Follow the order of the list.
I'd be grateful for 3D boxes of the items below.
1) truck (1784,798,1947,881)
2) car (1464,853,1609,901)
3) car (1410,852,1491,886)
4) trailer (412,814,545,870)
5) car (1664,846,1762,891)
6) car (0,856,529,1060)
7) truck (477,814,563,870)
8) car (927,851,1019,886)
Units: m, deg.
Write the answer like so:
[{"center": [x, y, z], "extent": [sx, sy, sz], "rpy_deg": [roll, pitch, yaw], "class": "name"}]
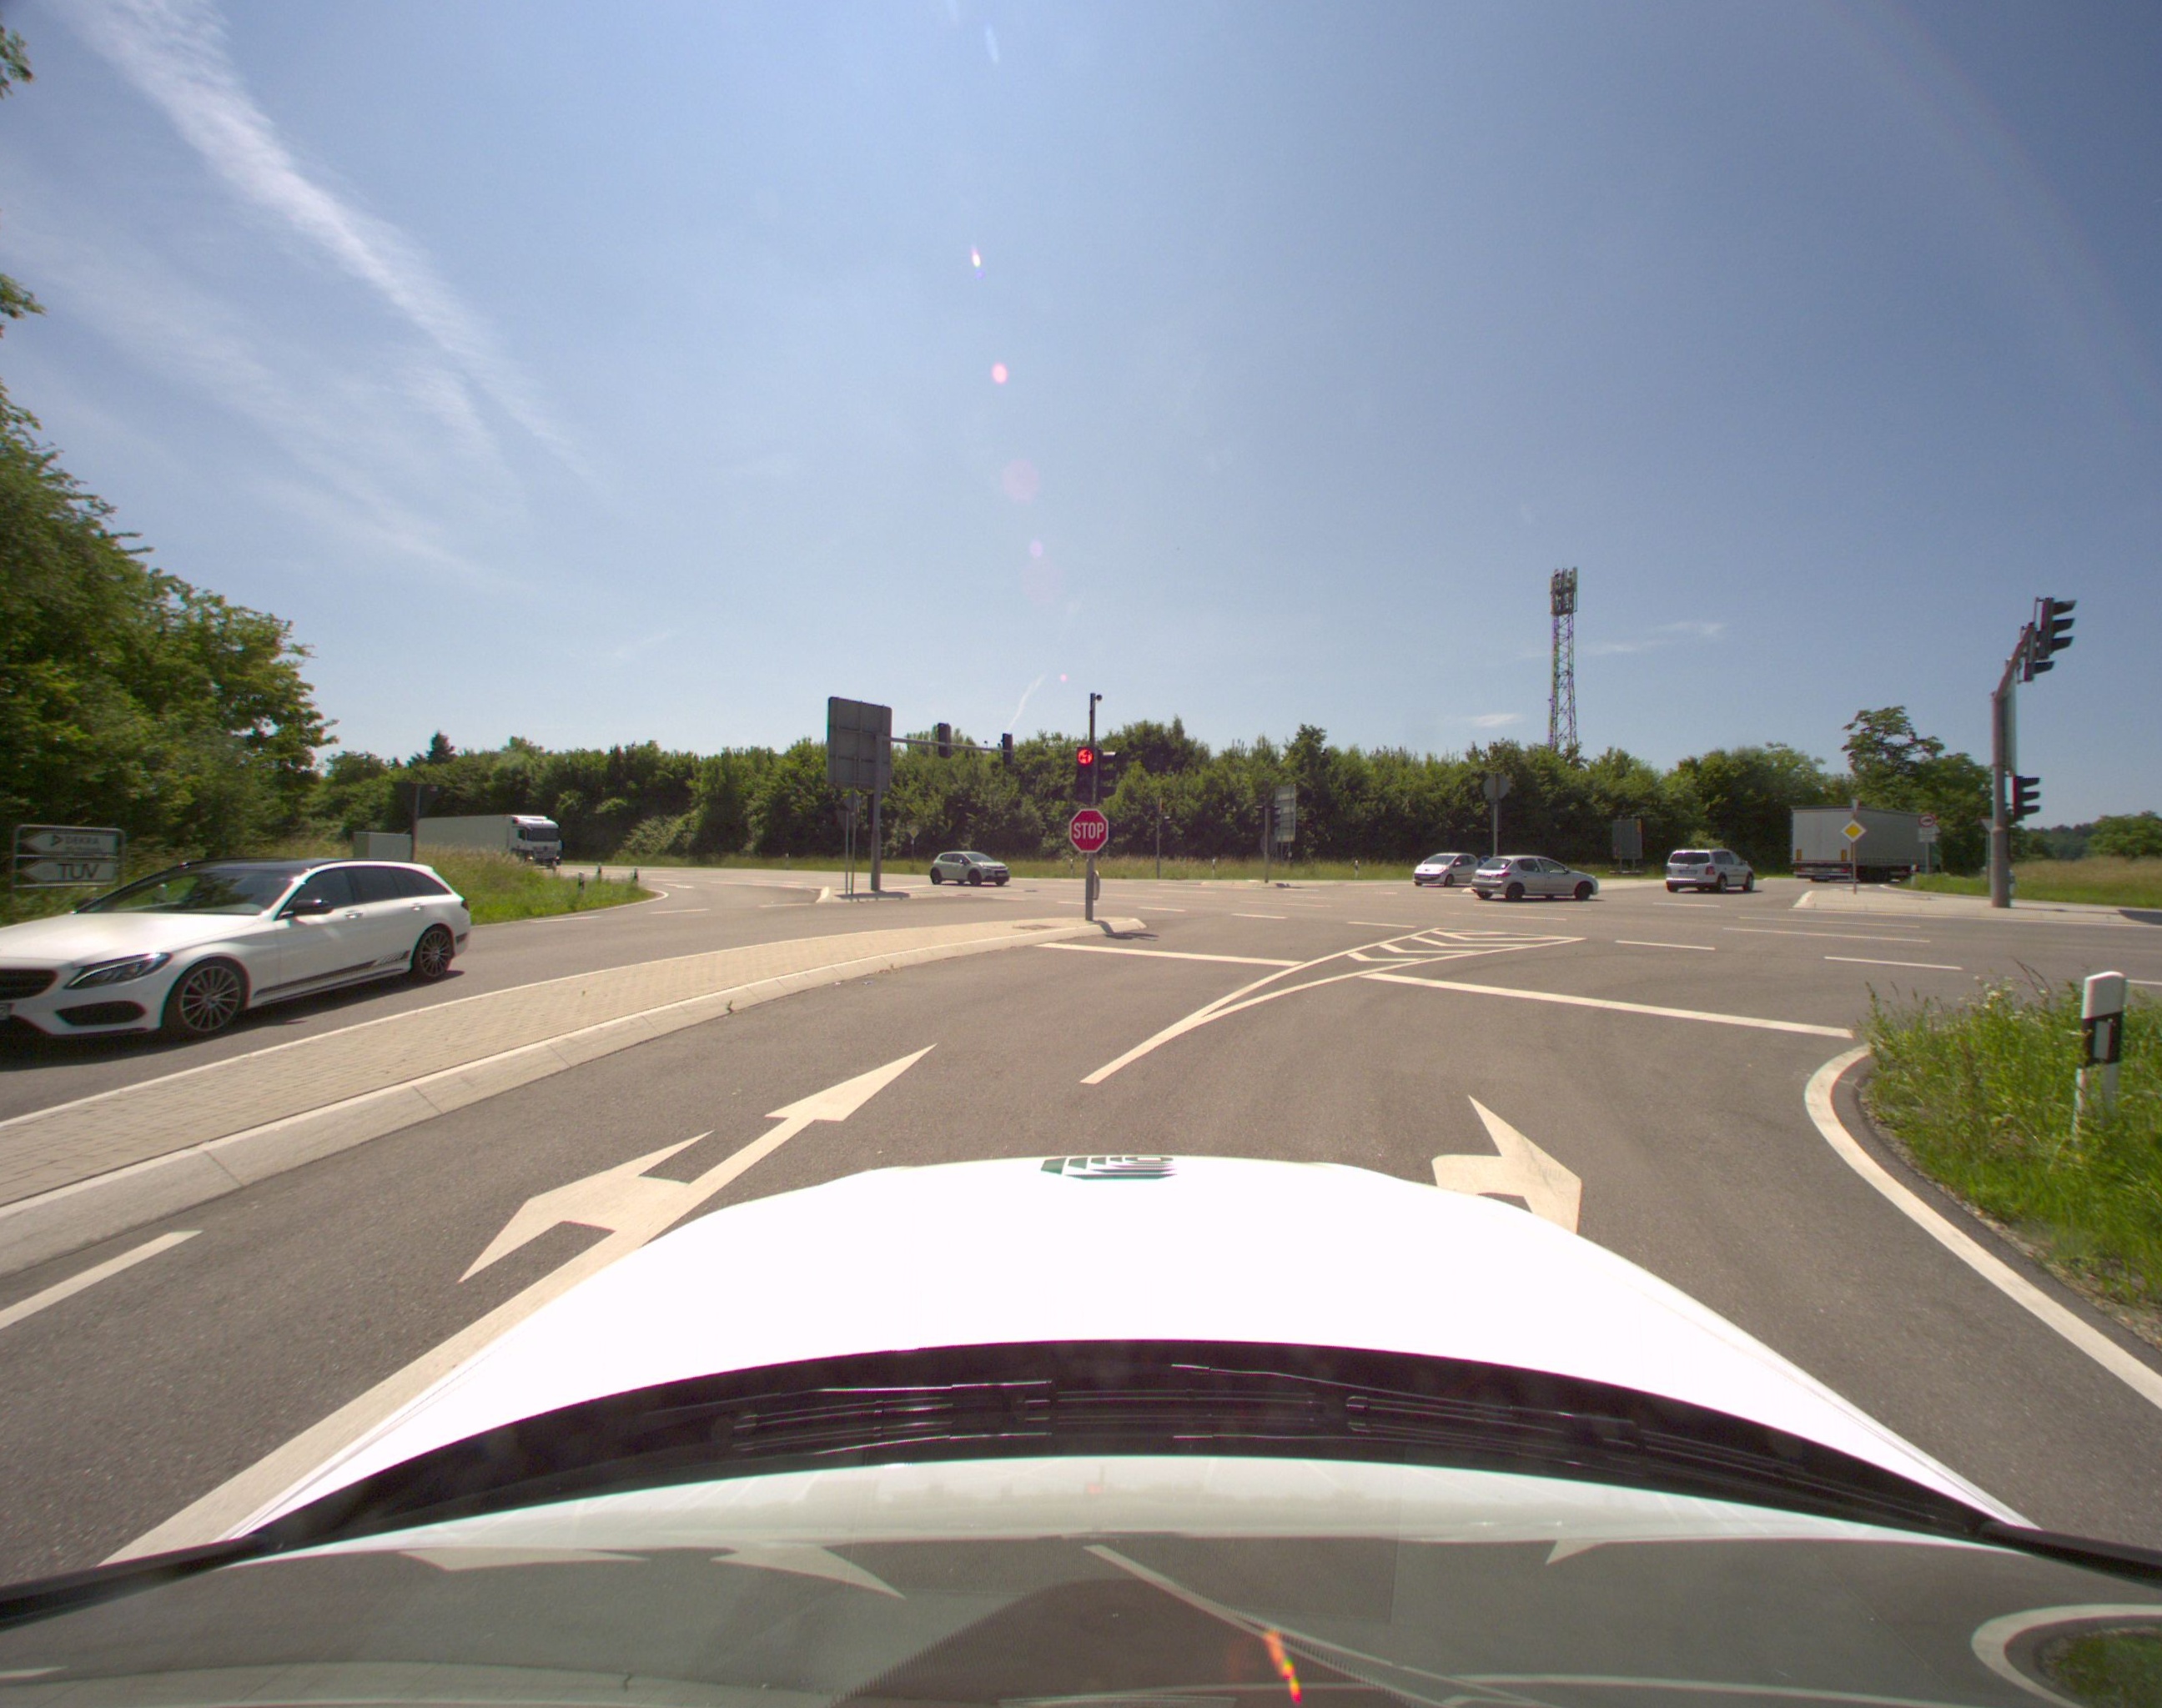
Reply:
[{"center": [45.605, -0.679, 46.984], "extent": [16.747, 4.173, 3.103], "rpy_deg": [0, 0, -33], "class": "truck"}, {"center": [14.554, 0.691, 26.111], "extent": [3.768, 1.413, 1.814], "rpy_deg": [-1, 1, -8], "class": "car"}, {"center": [16.088, 0.620, 35.393], "extent": [3.544, 1.370, 1.554], "rpy_deg": [-1, 1, -33], "class": "car"}, {"center": [-47.462, -0.950, 63.942], "extent": [13.663, 4.036, 2.677], "rpy_deg": [1, 1, 28], "class": "trailer"}, {"center": [24.440, 0.522, 31.449], "extent": [4.076, 1.625, 1.799], "rpy_deg": [-1, 0, -34], "class": "car"}, {"center": [-8.236, 0.767, 8.540], "extent": [1.803, 1.412, 5.321], "rpy_deg": [1, 0, -7], "class": "car"}, {"center": [-42.125, -0.887, 61.141], "extent": [6.202, 4.036, 2.677], "rpy_deg": [0, 1, 27], "class": "truck"}, {"center": [-4.825, 0.611, 36.130], "extent": [3.935, 1.404, 1.746], "rpy_deg": [0, 1, 37], "class": "car"}]
